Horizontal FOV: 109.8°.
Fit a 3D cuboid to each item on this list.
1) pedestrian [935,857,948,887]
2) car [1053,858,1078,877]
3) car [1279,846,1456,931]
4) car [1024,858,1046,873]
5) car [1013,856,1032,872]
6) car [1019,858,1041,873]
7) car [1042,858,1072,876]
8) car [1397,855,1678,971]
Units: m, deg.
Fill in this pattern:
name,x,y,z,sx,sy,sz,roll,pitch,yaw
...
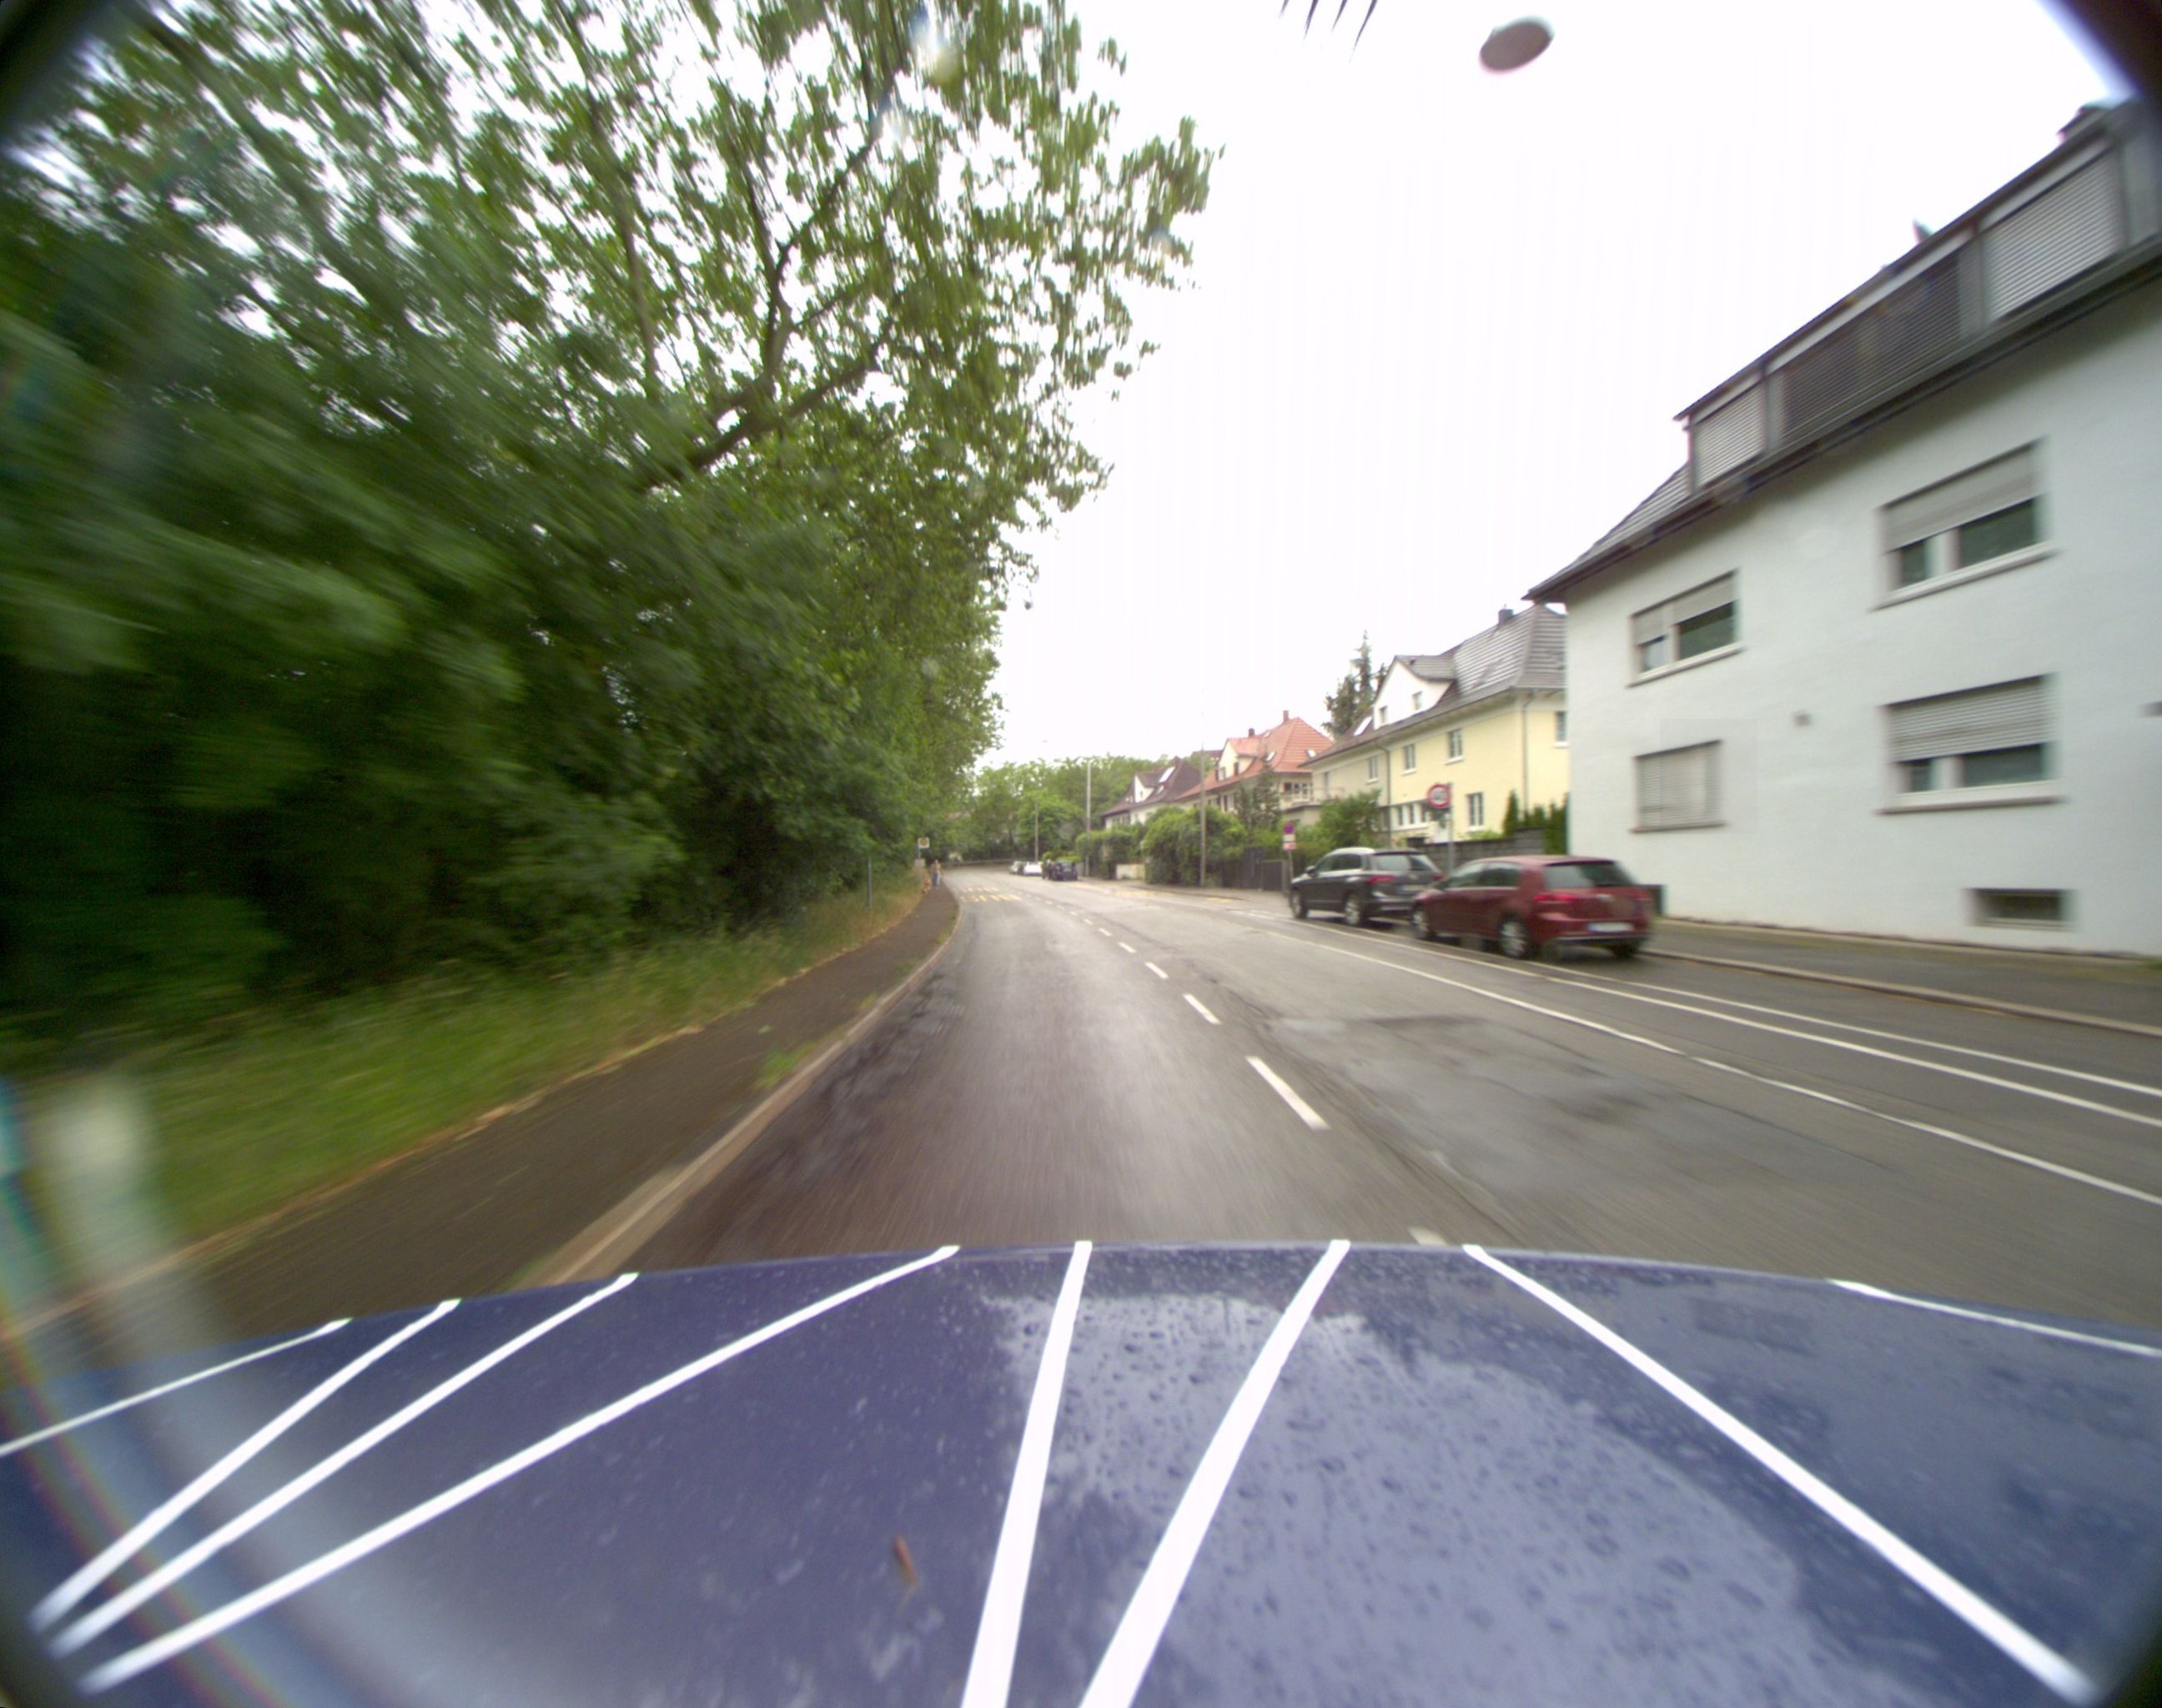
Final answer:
name,x,y,z,sx,sy,sz,roll,pitch,yaw
pedestrian,-7.588,0.957,41.245,0.644,1.602,0.669,-1,2,-12
car,-1.218,1.058,58.630,1.524,1.445,3.027,1,-1,-10
car,6.196,0.702,17.051,1.760,1.648,4.401,0,-1,-9
car,-4.737,1.151,77.499,1.704,1.459,3.707,-1,0,-12
car,-6.785,1.170,87.530,1.738,1.412,4.284,-5,-5,-9
car,-5.568,1.186,81.979,1.704,1.516,4.418,-1,0,-12
car,-2.044,1.073,62.853,1.694,1.410,4.210,1,-1,-13
car,6.700,0.779,11.781,1.621,1.432,4.229,-1,-1,-3
